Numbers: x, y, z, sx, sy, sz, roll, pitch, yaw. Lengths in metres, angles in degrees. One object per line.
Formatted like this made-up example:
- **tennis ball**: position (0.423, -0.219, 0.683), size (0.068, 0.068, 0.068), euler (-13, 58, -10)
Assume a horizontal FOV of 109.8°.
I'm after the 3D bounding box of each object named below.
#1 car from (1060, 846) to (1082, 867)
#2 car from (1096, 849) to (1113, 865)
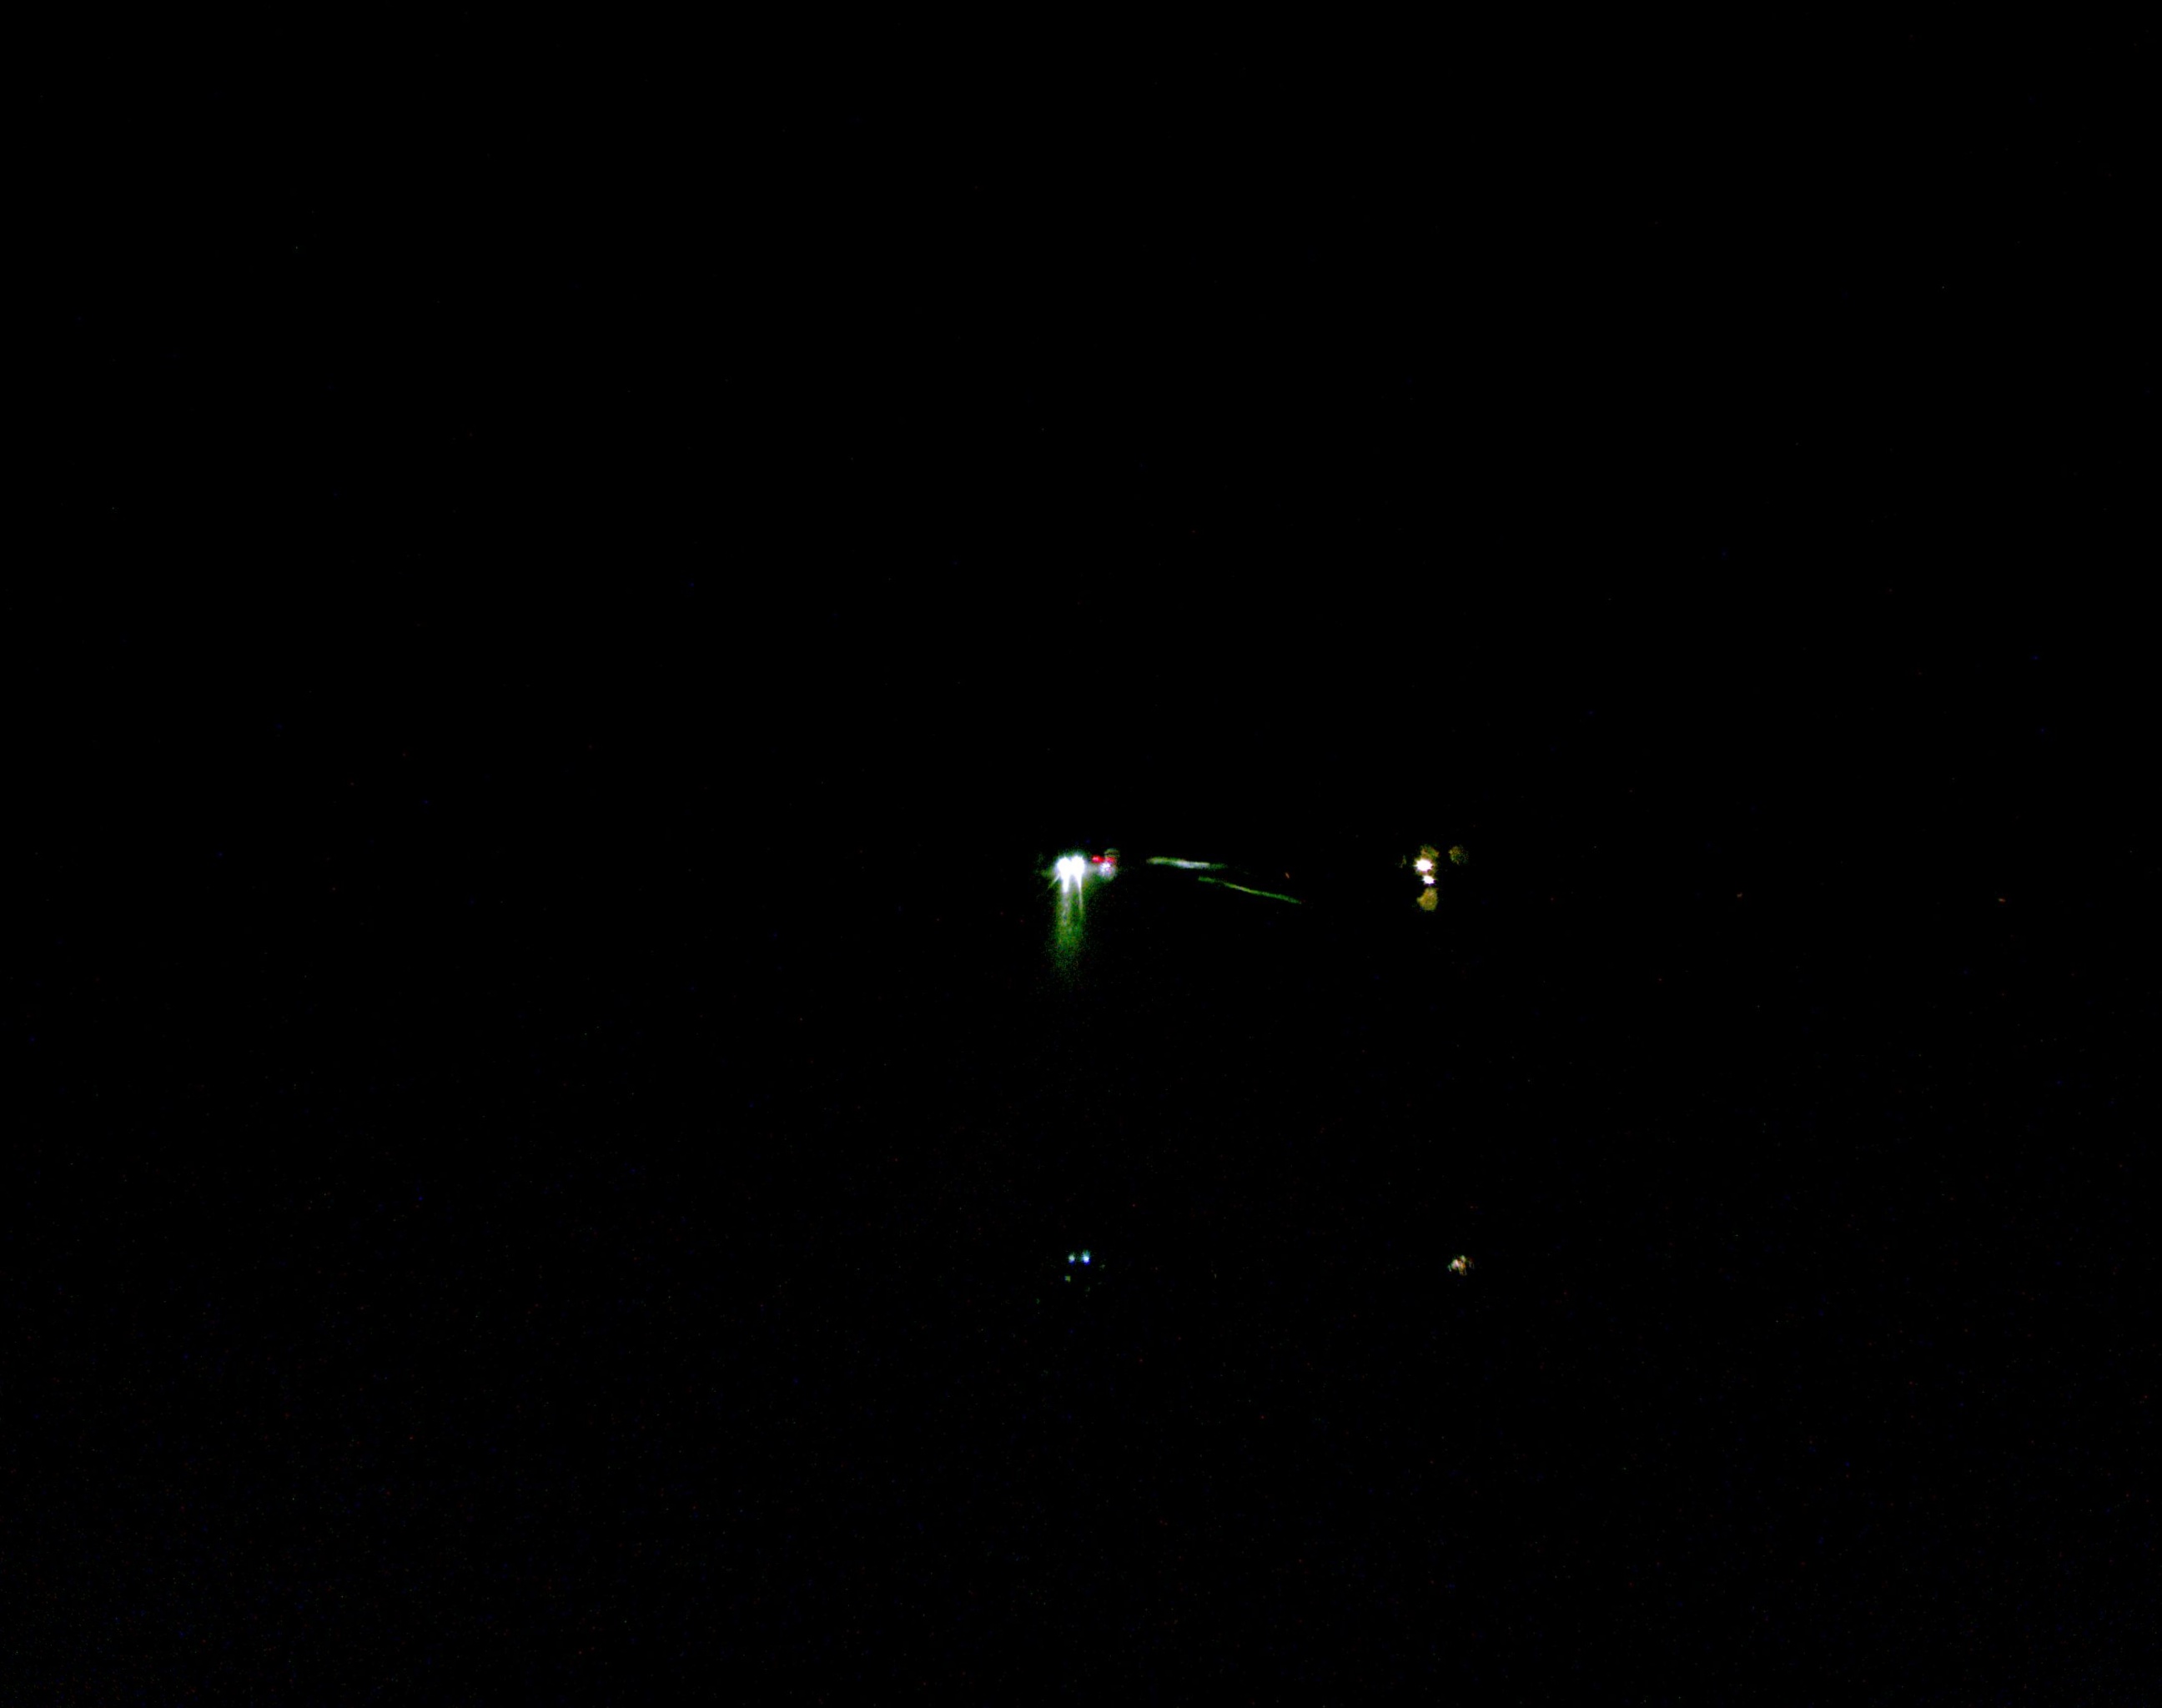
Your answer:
- **car**: position (-1.182, 0.258, 87.418), size (1.999, 2.003, 3.996), euler (-6, 2, -6)
- **car**: position (2.785, 0.324, 91.946), size (1.785, 1.657, 4.471), euler (-5, 0, 0)
